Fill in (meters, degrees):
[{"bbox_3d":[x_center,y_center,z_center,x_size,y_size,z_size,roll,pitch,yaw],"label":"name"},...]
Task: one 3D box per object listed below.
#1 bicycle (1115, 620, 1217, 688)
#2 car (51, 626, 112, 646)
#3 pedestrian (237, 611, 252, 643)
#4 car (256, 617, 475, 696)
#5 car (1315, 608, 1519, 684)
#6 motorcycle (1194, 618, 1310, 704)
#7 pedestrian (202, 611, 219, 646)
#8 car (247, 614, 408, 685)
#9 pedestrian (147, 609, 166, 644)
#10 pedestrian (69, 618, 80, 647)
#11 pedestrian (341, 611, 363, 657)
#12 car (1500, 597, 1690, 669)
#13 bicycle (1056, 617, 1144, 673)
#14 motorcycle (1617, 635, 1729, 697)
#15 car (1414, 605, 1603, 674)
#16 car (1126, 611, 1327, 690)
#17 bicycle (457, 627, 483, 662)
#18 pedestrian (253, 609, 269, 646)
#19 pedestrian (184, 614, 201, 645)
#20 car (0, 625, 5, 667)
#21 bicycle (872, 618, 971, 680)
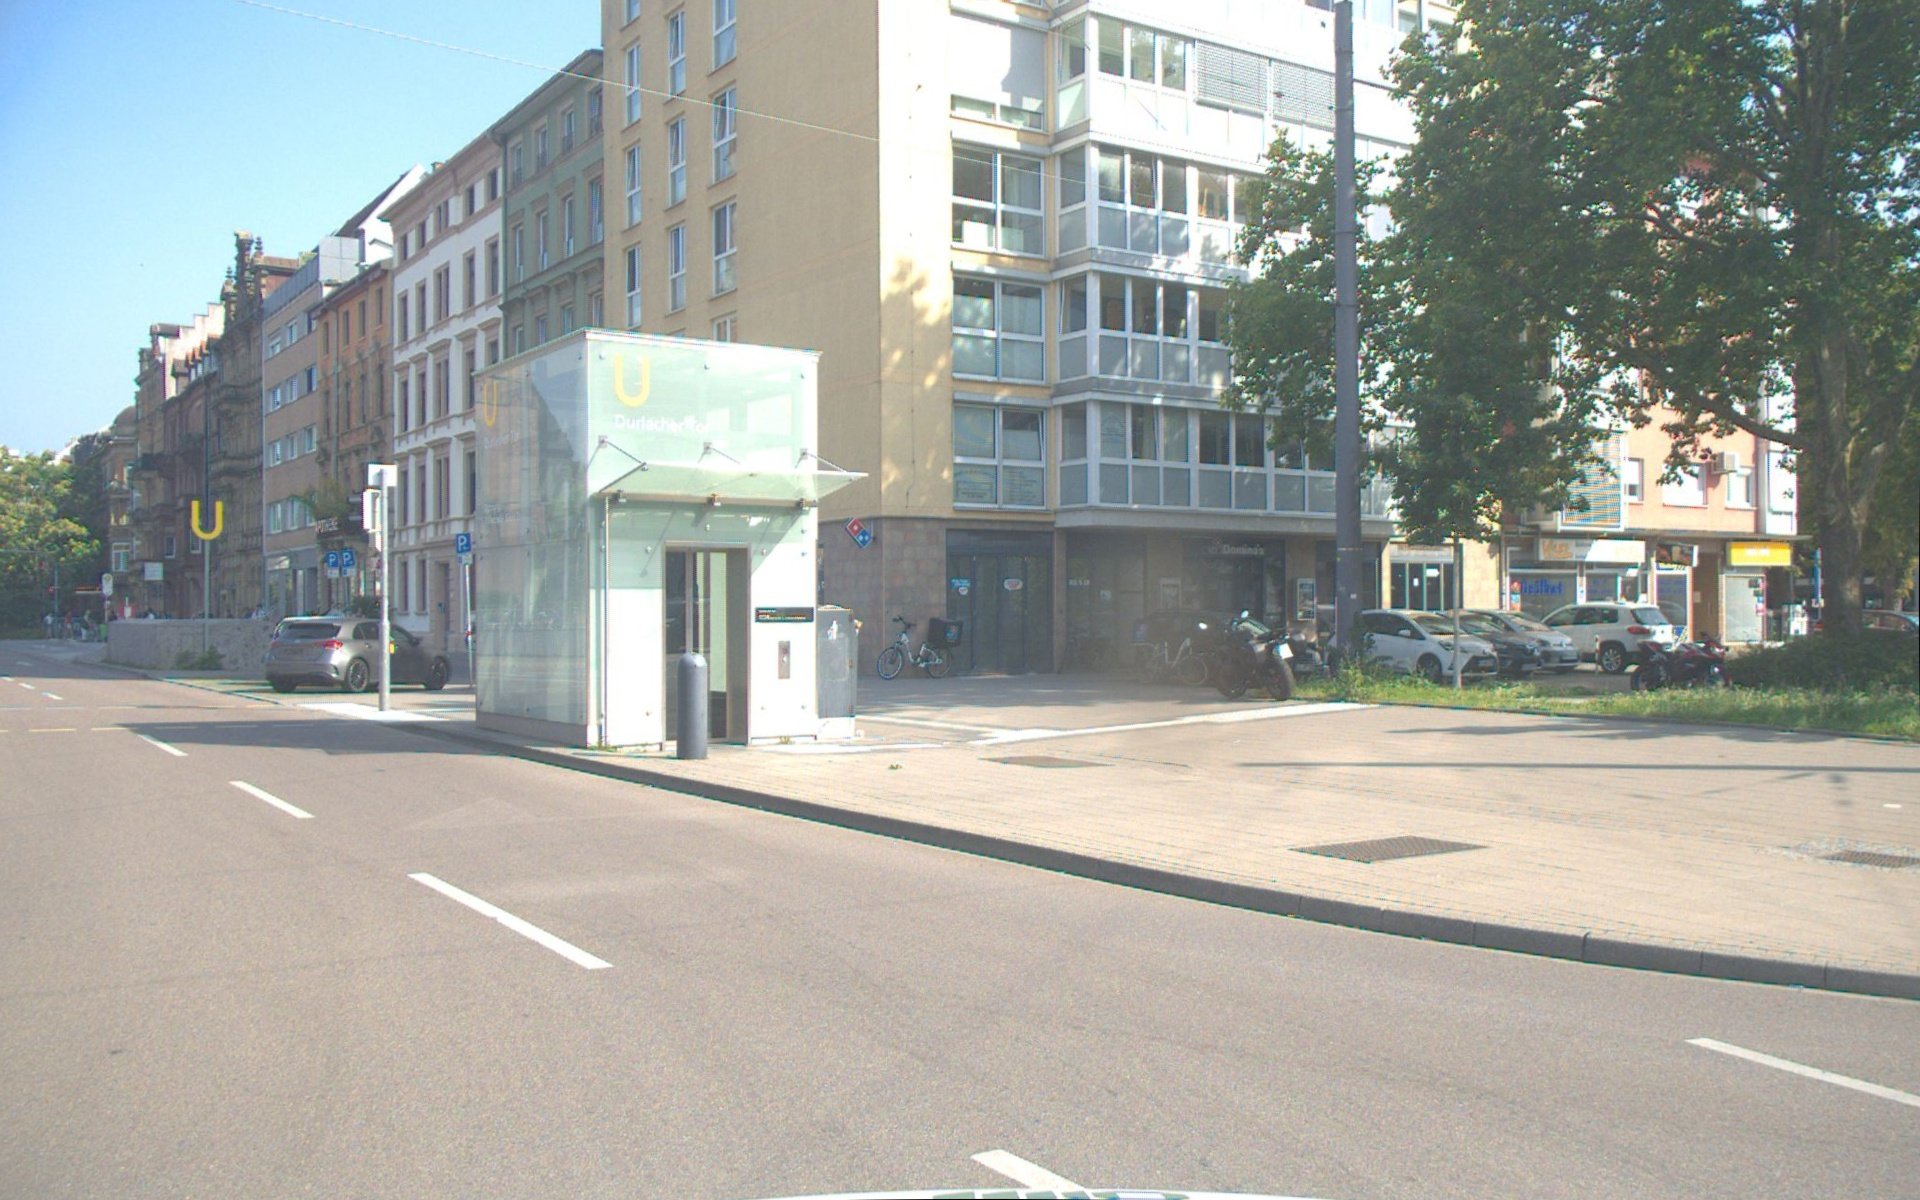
[{"bbox_3d":[3.973,1.026,32.111,0.519,1.256,2.270,0,-1,-37],"label":"bicycle"},{"bbox_3d":[-71.705,2.937,135.071,4.151,1.591,1.973,0,-1,-38],"label":"car"},{"bbox_3d":[-38.911,1.445,89.960,0.599,1.721,0.579,0,-1,-37],"label":"pedestrian"},{"bbox_3d":[-11.671,1.085,32.813,1.803,1.448,4.411,0,-1,17],"label":"car"},{"bbox_3d":[9.744,0.940,35.532,1.975,1.533,3.955,0,-1,-32],"label":"car"},{"bbox_3d":[4.217,0.856,24.055,0.692,1.167,2.290,0,0,-17],"label":"motorcycle"},{"bbox_3d":[-40.183,1.521,88.683,0.713,1.819,0.846,0,-1,-33],"label":"pedestrian"},{"bbox_3d":[-13.910,1.072,36.568,1.583,1.490,3.531,0,-1,15],"label":"car"},{"bbox_3d":[-40.671,1.316,83.728,0.744,1.759,0.790,0,-1,-37],"label":"pedestrian"},{"bbox_3d":[-53.511,1.959,99.920,0.477,1.732,0.694,0,-1,-37],"label":"pedestrian"},{"bbox_3d":[-21.685,1.208,59.002,0.603,1.658,0.728,0,-1,-33],"label":"pedestrian"},{"bbox_3d":[15.423,0.780,40.351,1.975,1.673,3.955,0,-1,-32],"label":"car"},{"bbox_3d":[3.145,0.994,37.129,1.999,1.204,0.663,0,0,-34],"label":"bicycle"},{"bbox_3d":[12.397,1.128,28.824,0.692,1.019,1.947,0,0,-17],"label":"motorcycle"},{"bbox_3d":[13.027,0.907,39.487,1.975,1.533,3.955,0,-1,-32],"label":"car"},{"bbox_3d":[5.242,0.962,33.013,1.641,1.466,4.147,0,-1,-32],"label":"car"},{"bbox_3d":[-16.452,1.493,55.547,0.380,1.154,1.700,0,-1,-33],"label":"bicycle"},{"bbox_3d":[-35.455,1.386,83.886,0.599,1.864,0.732,0,-1,-37],"label":"pedestrian"},{"bbox_3d":[-40.952,1.589,88.201,0.713,1.638,0.846,0,-1,-33],"label":"pedestrian"},{"bbox_3d":[-40.152,1.826,67.457,1.815,1.649,4.307,2,-2,-33],"label":"car"},{"bbox_3d":[-0.780,0.995,34.015,1.999,1.227,0.663,0,0,-34],"label":"bicycle"}]
